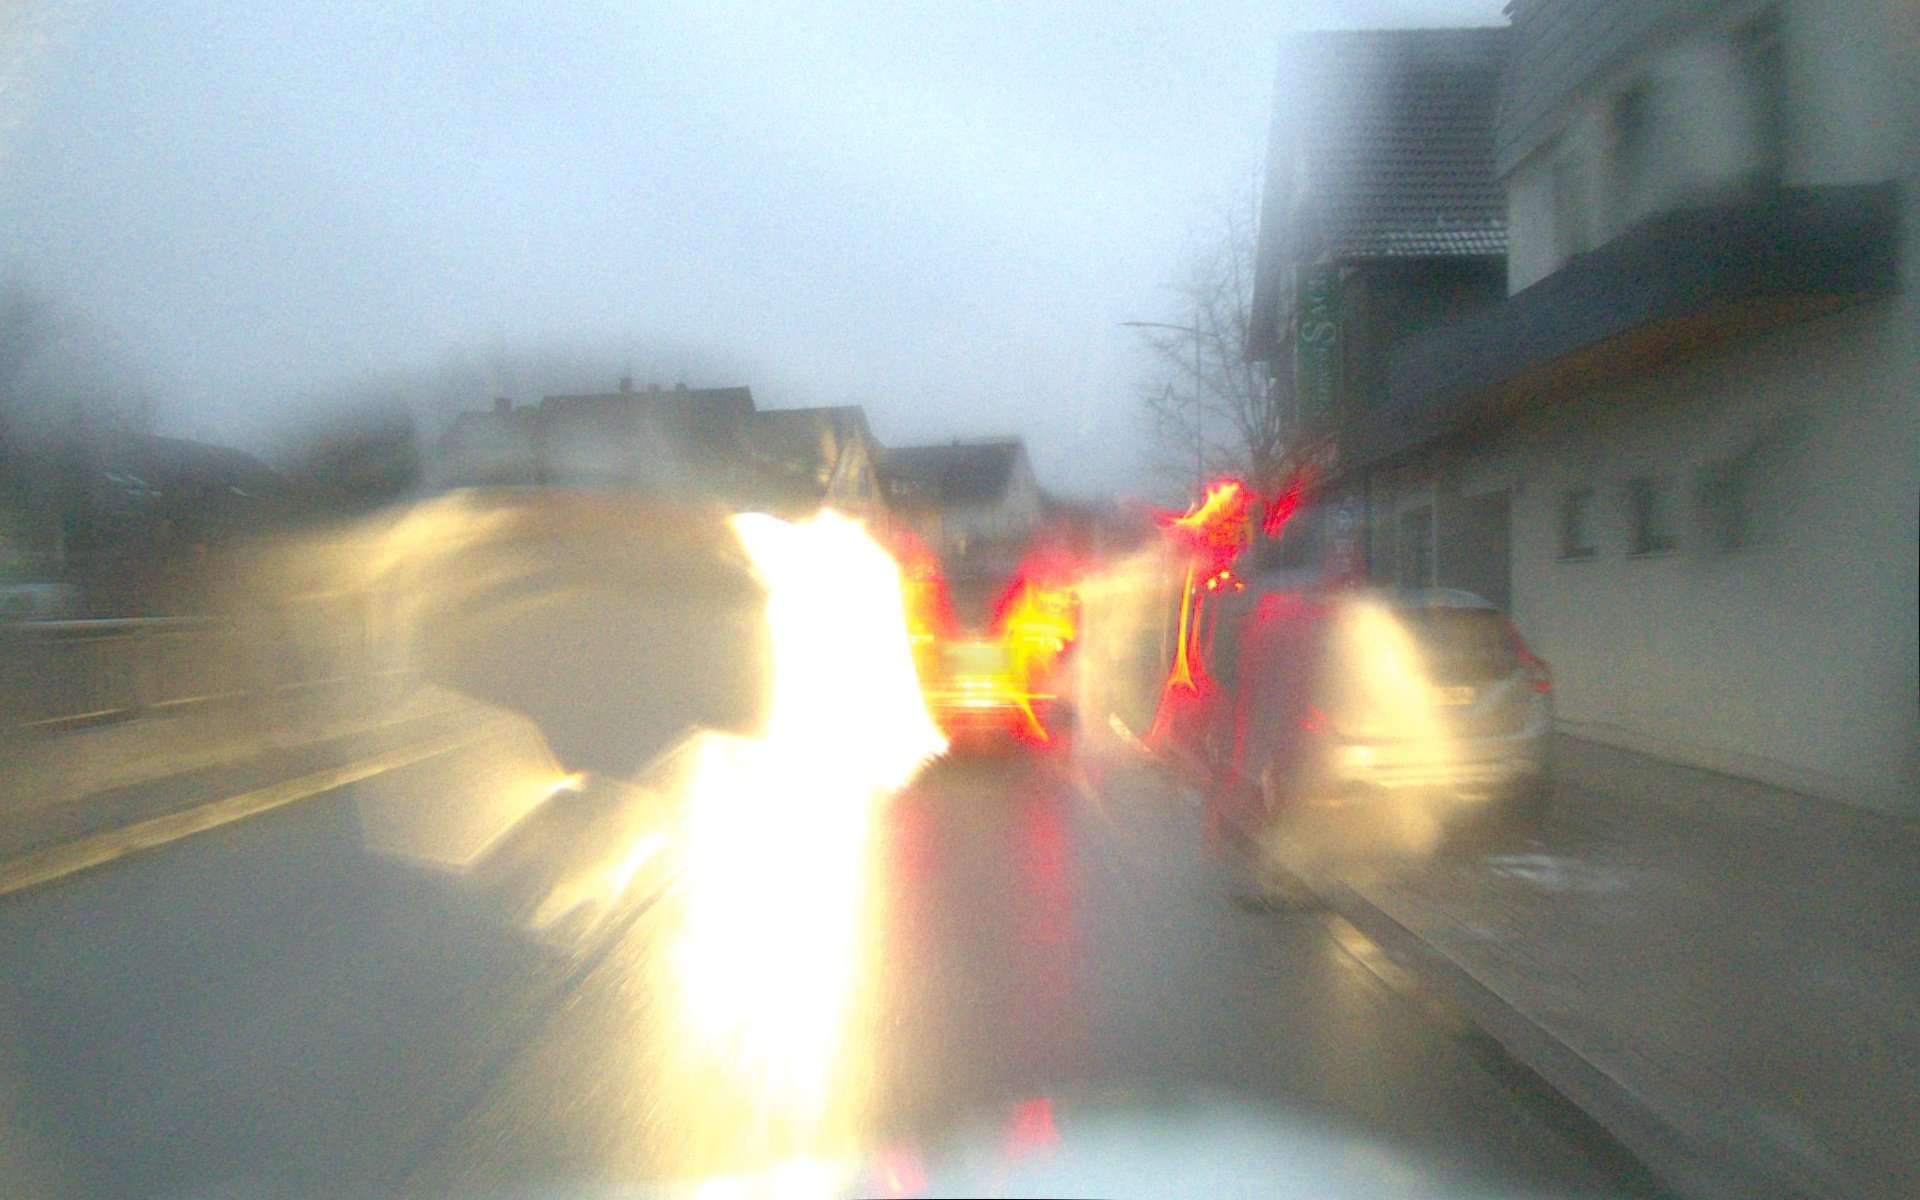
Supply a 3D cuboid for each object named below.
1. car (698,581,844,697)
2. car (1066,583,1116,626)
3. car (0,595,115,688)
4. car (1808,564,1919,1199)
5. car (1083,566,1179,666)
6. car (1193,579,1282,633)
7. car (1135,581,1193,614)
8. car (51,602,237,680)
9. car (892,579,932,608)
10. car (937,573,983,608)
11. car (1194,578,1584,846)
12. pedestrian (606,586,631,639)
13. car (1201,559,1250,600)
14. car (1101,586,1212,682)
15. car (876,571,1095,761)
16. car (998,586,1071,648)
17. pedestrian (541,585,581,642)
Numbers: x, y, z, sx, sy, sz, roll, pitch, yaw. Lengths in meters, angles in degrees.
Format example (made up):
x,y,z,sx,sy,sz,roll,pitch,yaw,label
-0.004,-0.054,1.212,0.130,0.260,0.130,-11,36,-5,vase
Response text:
x,y,z,sx,sy,sz,roll,pitch,yaw,label
-2.747,0.527,24.776,1.696,1.563,3.781,2,0,0,car
4.831,0.139,61.374,1.776,1.436,4.003,0,2,4,car
-20.129,0.871,34.993,1.834,1.809,4.504,-2,1,5,car
2.895,0.754,1.106,1.917,1.559,5.007,2,0,-2,car
3.532,0.290,33.706,1.732,1.813,4.003,-3,0,7,car
7.909,0.157,47.488,1.730,1.418,3.912,-3,0,-2,car
9.390,-0.132,75.862,1.951,1.416,4.002,-1,1,18,car
-19.695,0.942,40.165,1.834,1.600,4.505,-2,1,6,car
-2.819,-0.418,96.990,1.788,1.641,4.048,-1,1,-9,car
-0.043,-0.594,96.324,2.000,1.959,4.048,-1,1,-10,car
2.809,0.644,11.793,1.618,1.480,4.238,-3,0,0,car
-11.209,0.408,54.257,0.649,1.727,0.542,0,1,13,pedestrian
14.700,-1.141,91.411,2.112,2.025,4.503,-4,0,15,car
3.268,0.535,27.897,1.611,1.440,2.729,-3,1,3,car
0.219,0.547,16.694,1.924,1.622,4.313,0,1,0,car
1.889,0.405,42.850,1.648,1.478,4.000,2,0,0,car
-13.086,0.433,54.263,0.908,1.815,0.974,0,1,13,pedestrian
